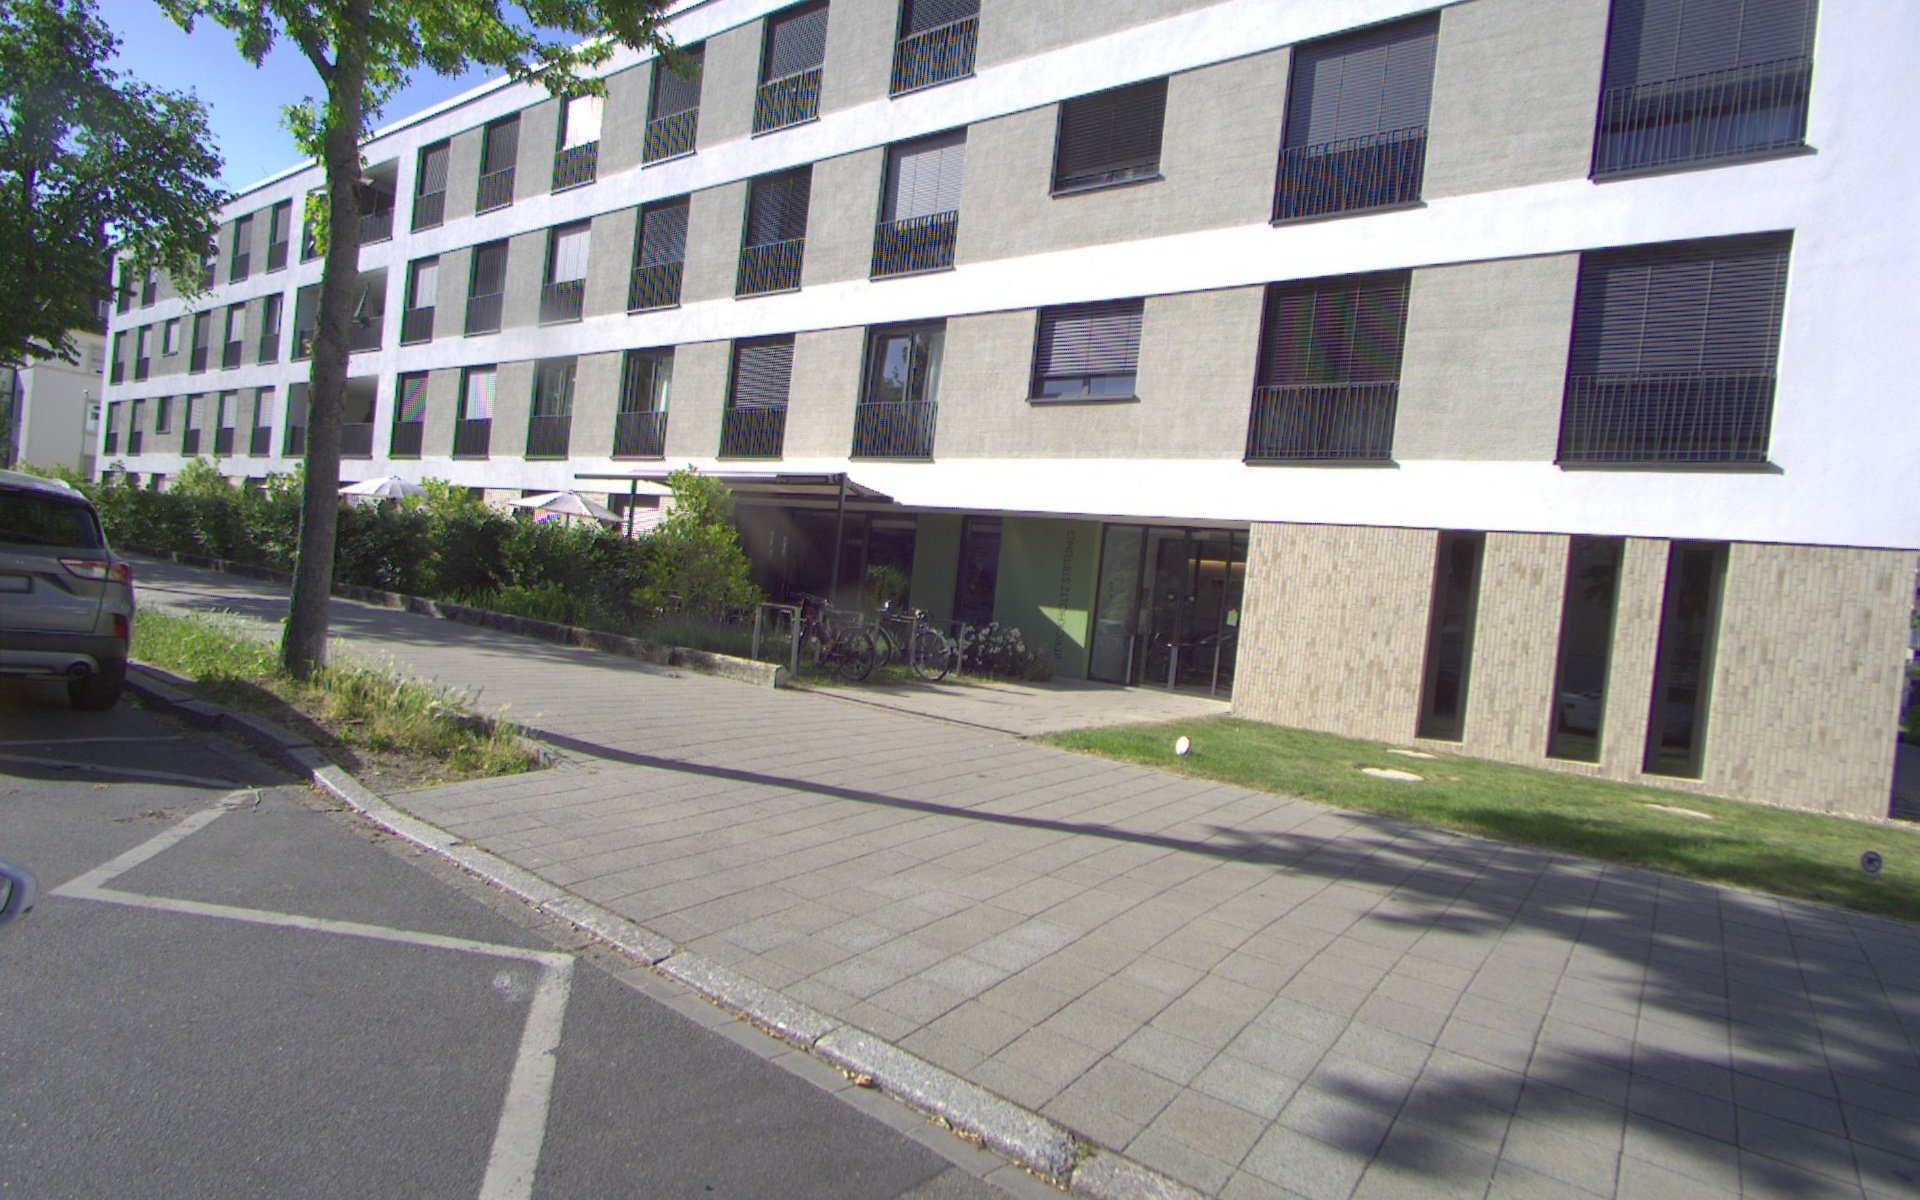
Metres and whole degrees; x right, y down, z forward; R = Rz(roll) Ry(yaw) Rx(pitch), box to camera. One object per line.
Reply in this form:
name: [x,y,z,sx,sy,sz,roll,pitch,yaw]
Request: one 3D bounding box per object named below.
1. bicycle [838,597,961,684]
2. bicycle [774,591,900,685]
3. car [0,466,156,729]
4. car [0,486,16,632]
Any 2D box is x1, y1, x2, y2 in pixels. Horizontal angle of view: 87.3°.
bicycle: [-0.901,0.573,14.721,1.751,1.069,0.546,6,2,34]
bicycle: [-1.673,0.492,13.599,1.664,1.069,0.546,6,2,34]
car: [-7.840,-0.196,7.517,4.345,1.650,1.847,6,-1,38]
car: [-12.184,-0.670,11.039,3.935,1.542,1.695,6,0,33]
